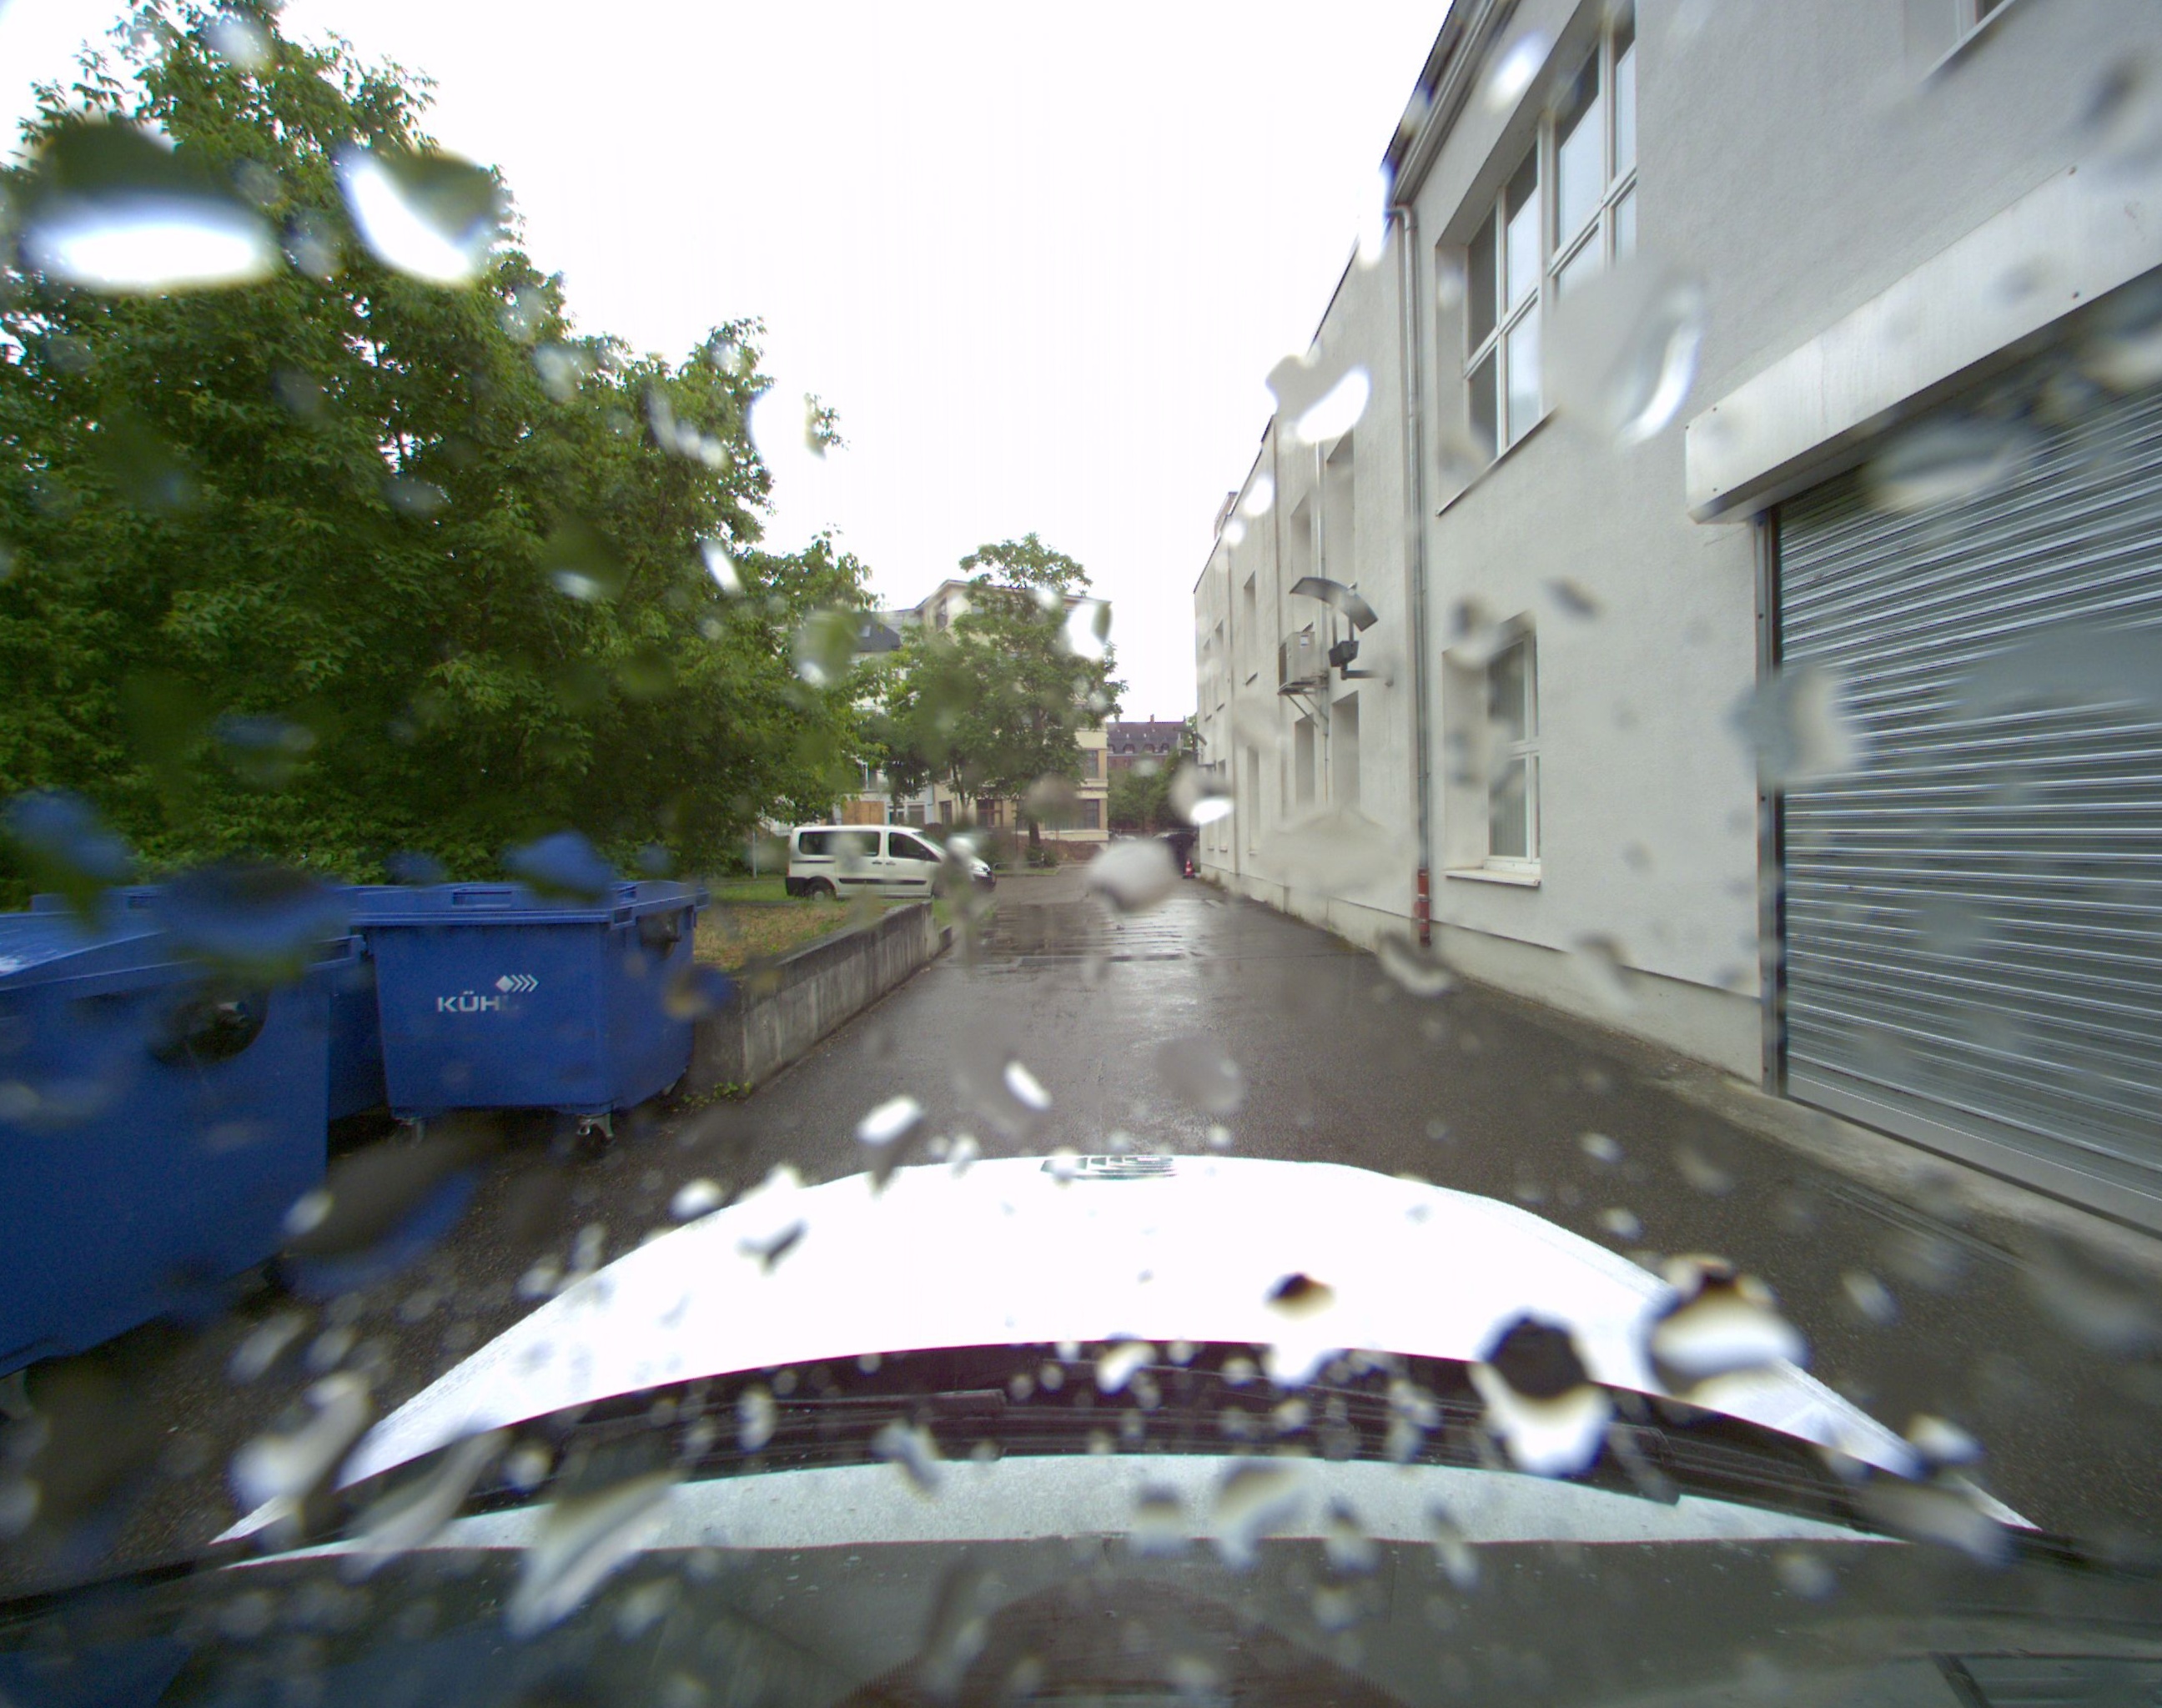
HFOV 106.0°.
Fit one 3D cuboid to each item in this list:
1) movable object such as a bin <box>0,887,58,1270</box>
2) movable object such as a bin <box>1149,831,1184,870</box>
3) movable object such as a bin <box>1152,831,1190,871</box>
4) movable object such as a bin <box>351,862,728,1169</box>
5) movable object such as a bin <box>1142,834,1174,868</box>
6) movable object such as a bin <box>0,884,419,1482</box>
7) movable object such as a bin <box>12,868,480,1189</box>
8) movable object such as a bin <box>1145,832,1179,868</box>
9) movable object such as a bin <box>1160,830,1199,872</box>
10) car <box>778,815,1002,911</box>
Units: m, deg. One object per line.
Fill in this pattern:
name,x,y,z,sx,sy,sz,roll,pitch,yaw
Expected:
movable object such as a bin,-4.411,0.816,2.438,1.198,1.336,1.117,0,3,0
movable object such as a bin,3.383,-0.128,32.280,1.211,1.468,1.235,-1,-1,-2
movable object such as a bin,3.371,-0.110,30.649,1.211,1.437,1.293,-1,-1,-2
movable object such as a bin,-2.682,0.744,4.214,1.217,1.337,1.007,-1,2,0
movable object such as a bin,3.310,-0.123,35.034,1.211,1.437,1.258,-1,-1,-2
movable object such as a bin,-3.092,0.800,2.469,1.197,1.337,1.118,-1,1,4
movable object such as a bin,-4.032,0.783,4.082,1.217,1.336,1.007,-1,2,0
movable object such as a bin,3.326,-0.143,33.655,1.211,1.437,1.258,-1,-1,-2
movable object such as a bin,3.487,-0.085,28.956,1.211,1.437,1.235,-1,-1,-2
car,-4.445,0.179,19.516,4.763,2.013,2.001,-2,2,1
